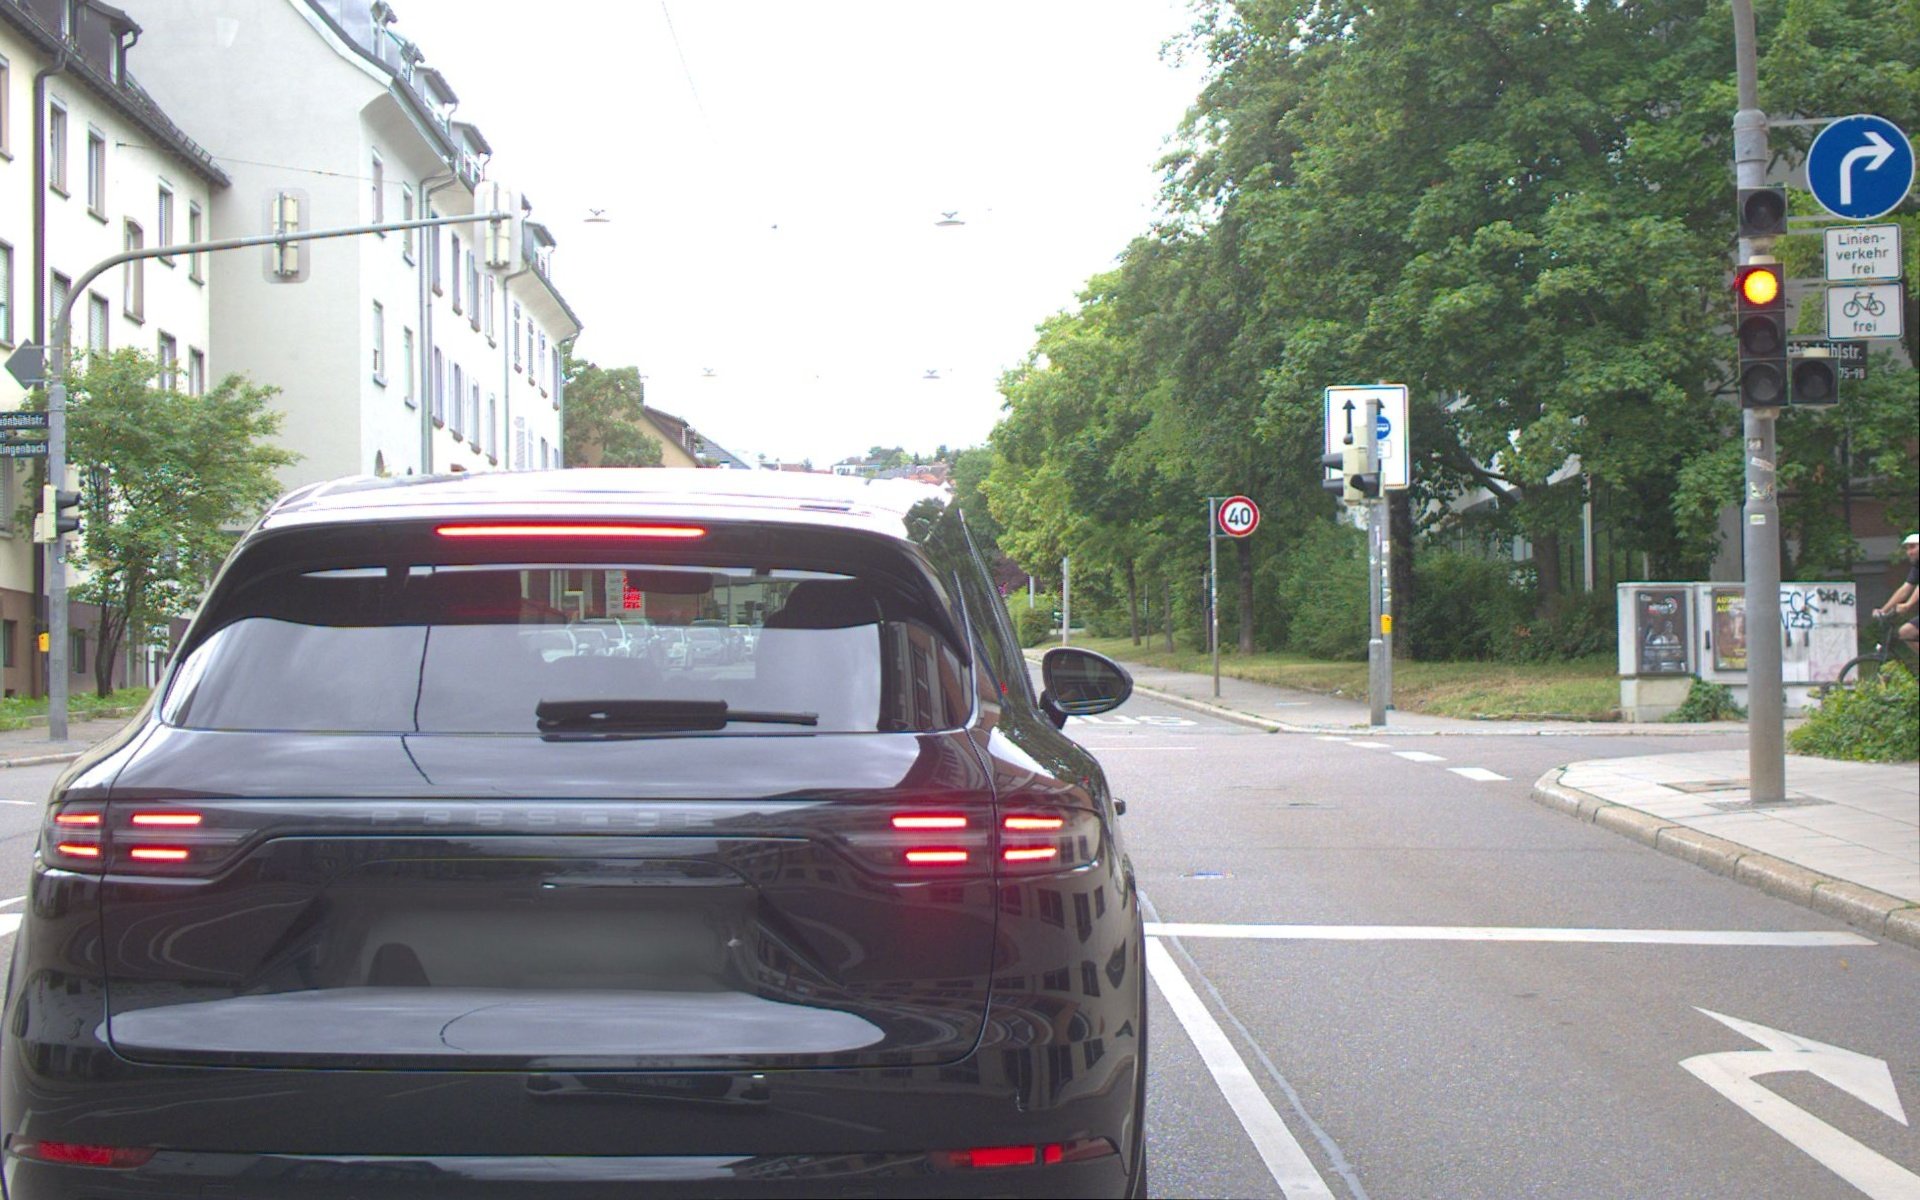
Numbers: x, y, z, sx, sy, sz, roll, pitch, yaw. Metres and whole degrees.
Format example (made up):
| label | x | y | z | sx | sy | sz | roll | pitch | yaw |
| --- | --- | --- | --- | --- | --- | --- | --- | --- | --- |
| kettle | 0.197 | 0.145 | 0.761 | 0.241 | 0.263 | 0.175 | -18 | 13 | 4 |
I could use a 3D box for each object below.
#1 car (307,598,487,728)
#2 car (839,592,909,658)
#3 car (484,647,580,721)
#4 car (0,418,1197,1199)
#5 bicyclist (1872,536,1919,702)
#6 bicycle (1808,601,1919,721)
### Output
| label | x | y | z | sx | sy | sz | roll | pitch | yaw |
| --- | --- | --- | --- | --- | --- | --- | --- | --- | --- |
| car | -7.396 | 0.797 | 45.484 | 1.664 | 1.514 | 3.740 | -4 | 1 | 0 |
| car | -2.154 | 0.609 | 85.247 | 1.688 | 1.547 | 3.889 | 1 | 1 | -2 |
| car | -8.659 | 1.687 | 69.726 | 1.669 | 1.357 | 4.001 | 0 | 1 | -3 |
| car | -0.674 | 0.563 | 7.163 | 1.993 | 1.691 | 4.000 | 1 | 1 | -1 |
| bicyclist | 8.982 | 0.173 | 31.780 | 0.809 | 1.514 | 0.707 | 1 | 0 | -11 |
| bicycle | 8.888 | 0.561 | 31.757 | 1.905 | 1.077 | 0.703 | 1 | 0 | -12 |
